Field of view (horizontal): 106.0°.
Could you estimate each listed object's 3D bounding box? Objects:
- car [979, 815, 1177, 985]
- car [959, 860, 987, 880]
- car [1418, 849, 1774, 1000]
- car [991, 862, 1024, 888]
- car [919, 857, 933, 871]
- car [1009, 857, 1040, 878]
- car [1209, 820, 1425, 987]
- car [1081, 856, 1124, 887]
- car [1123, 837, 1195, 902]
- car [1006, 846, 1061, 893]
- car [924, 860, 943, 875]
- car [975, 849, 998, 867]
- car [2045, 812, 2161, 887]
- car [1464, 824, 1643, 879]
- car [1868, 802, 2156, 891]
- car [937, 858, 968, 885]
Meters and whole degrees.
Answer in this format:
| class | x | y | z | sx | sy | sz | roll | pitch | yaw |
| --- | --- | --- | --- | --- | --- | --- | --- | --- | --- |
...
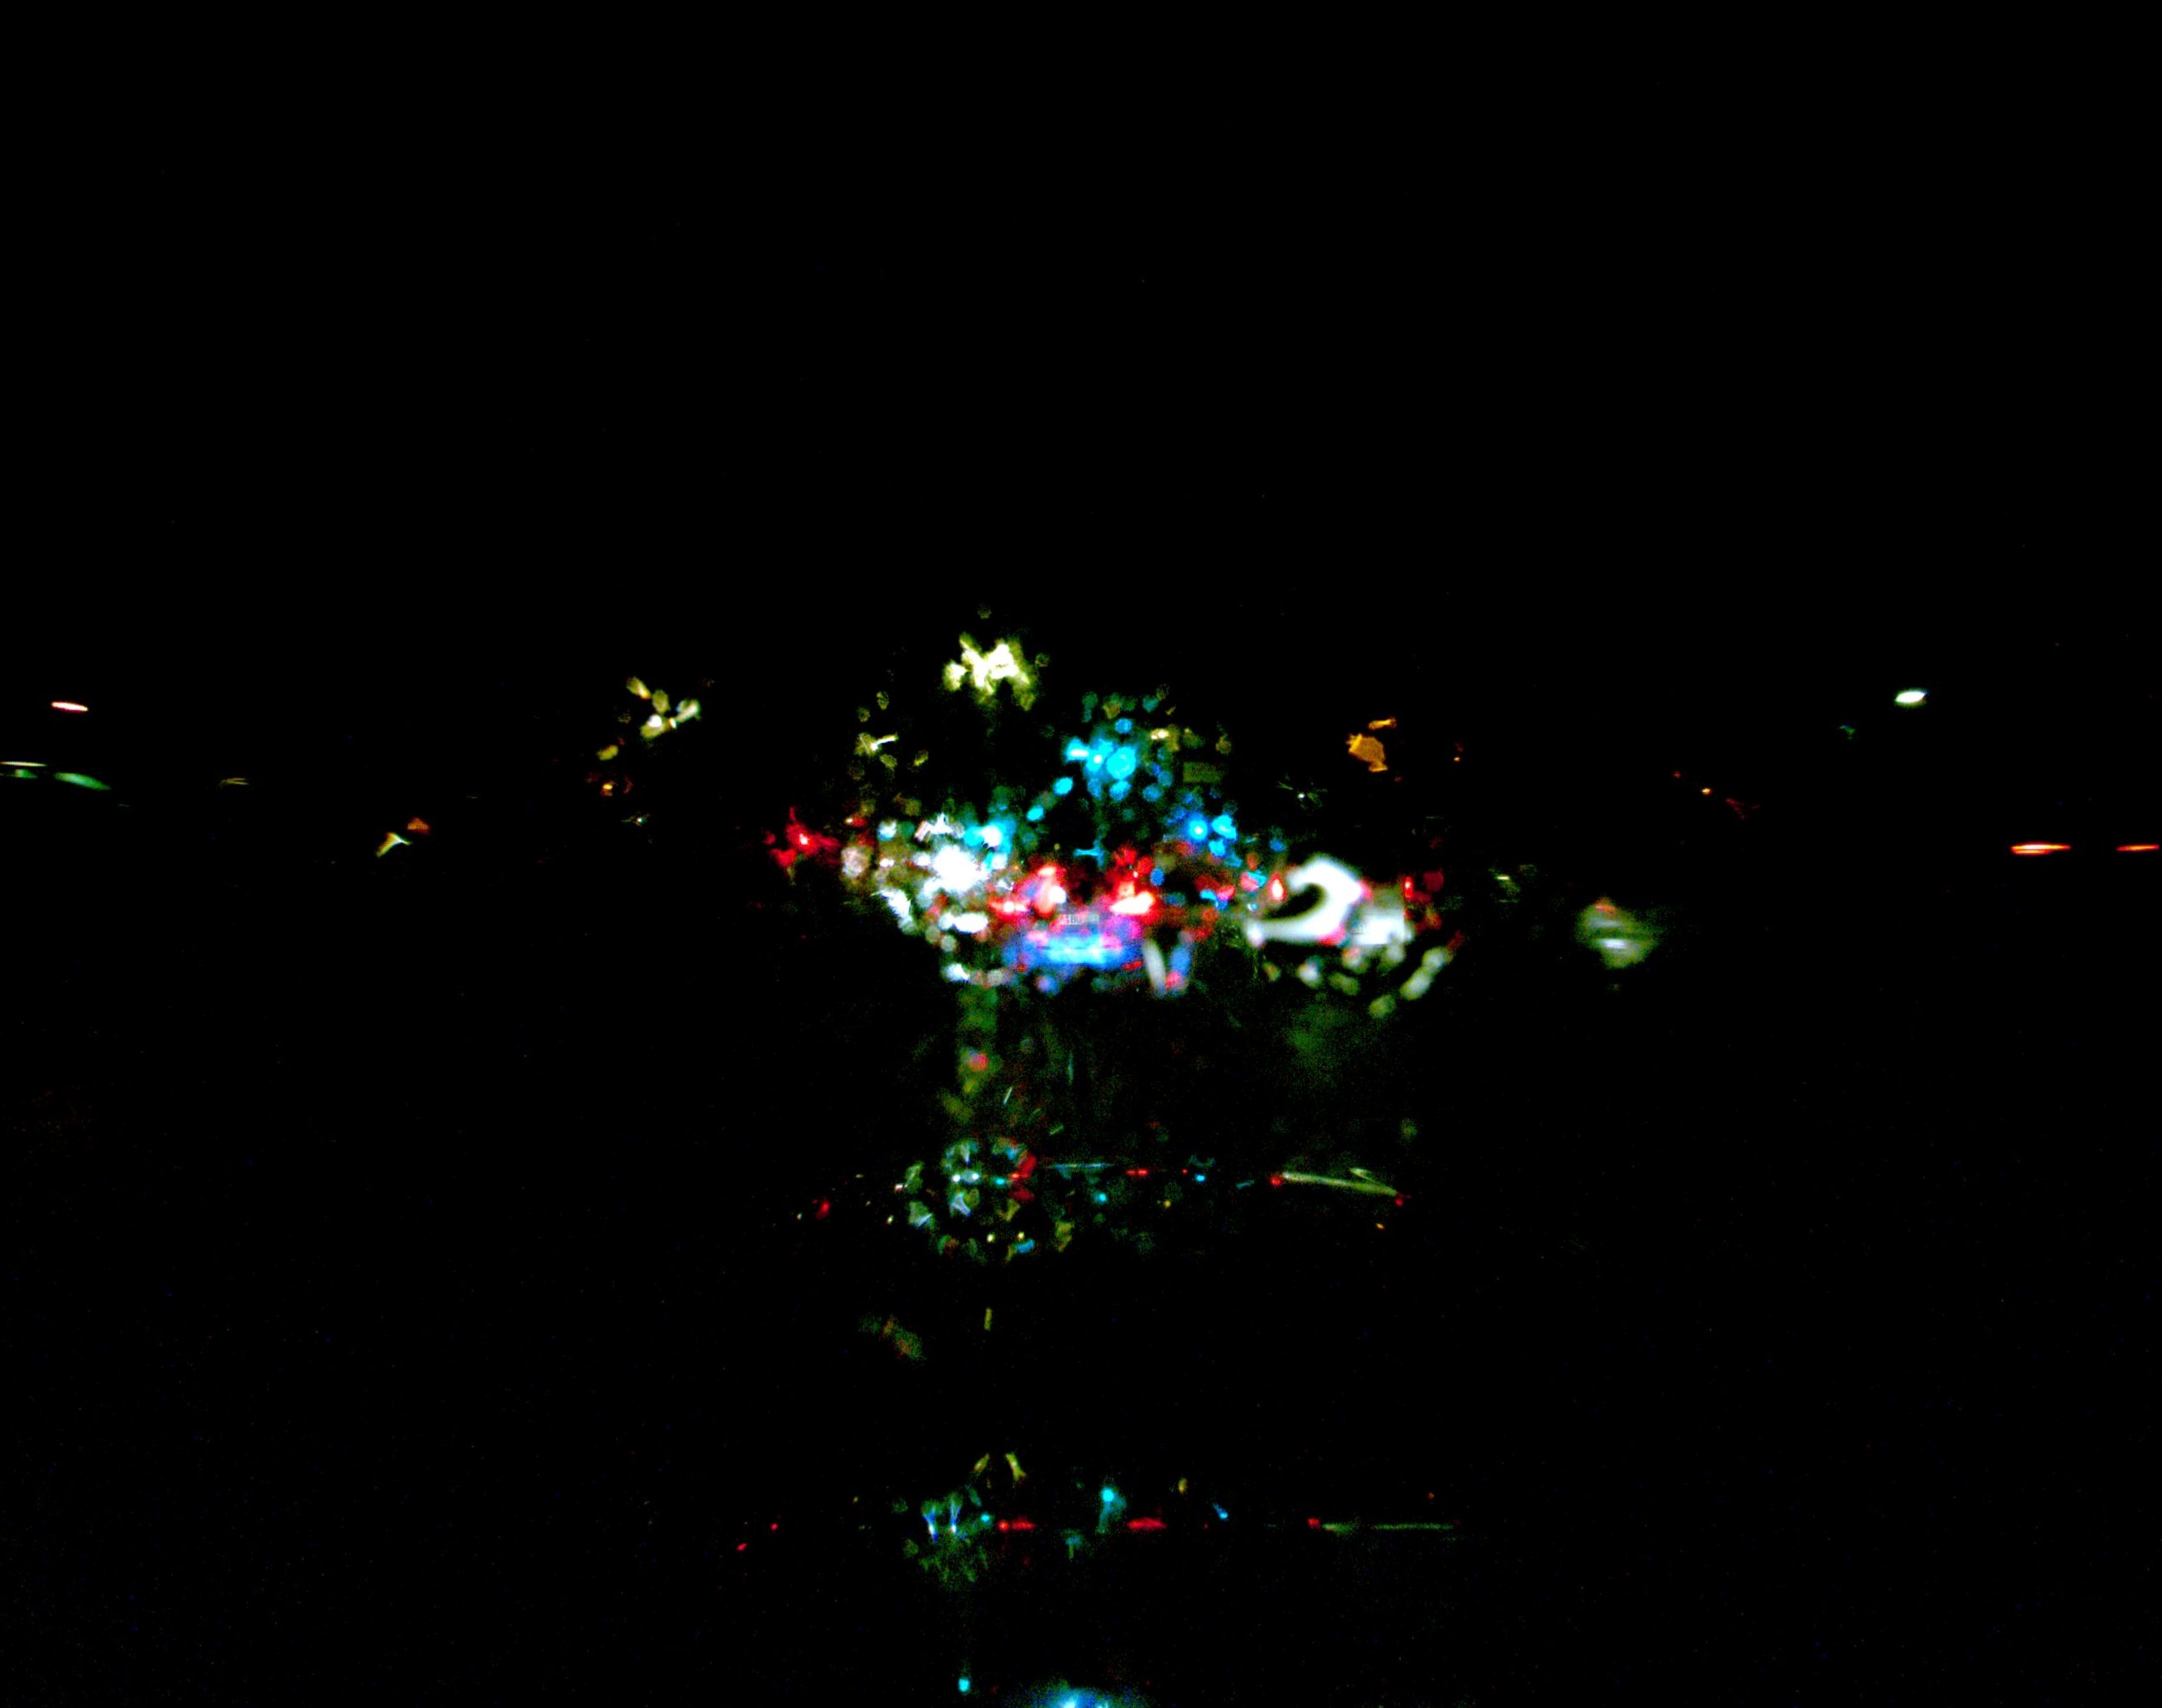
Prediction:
| class | x | y | z | sx | sy | sz | roll | pitch | yaw |
| --- | --- | --- | --- | --- | --- | --- | --- | --- | --- |
| car | -0.115 | 0.482 | 10.513 | 2.010 | 1.717 | 4.447 | 0 | 0 | -3 |
| car | -10.115 | 1.468 | 75.911 | 1.998 | 1.824 | 3.977 | 0 | -1 | -17 |
| car | 5.999 | 0.689 | 10.215 | 1.779 | 1.442 | 4.237 | -2 | 0 | 0 |
| car | -5.221 | 1.467 | 57.216 | 1.994 | 1.732 | 3.986 | 0 | 0 | -10 |
| car | -22.532 | 1.457 | 118.321 | 1.995 | 2.014 | 3.983 | 0 | -1 | -13 |
| car | -4.592 | 1.073 | 65.688 | 1.995 | 1.670 | 3.983 | 0 | 0 | -12 |
| car | 2.972 | 0.567 | 11.258 | 1.845 | 1.865 | 4.342 | 0 | 0 | 2 |
| car | 1.214 | 1.010 | 48.032 | 1.992 | 1.718 | 3.989 | 0 | 0 | -7 |
| car | 2.556 | 0.515 | 27.691 | 1.963 | 2.047 | 3.997 | 0 | -1 | -2 |
| car | -2.227 | 0.689 | 37.242 | 1.994 | 2.014 | 3.984 | 0 | -1 | -11 |
| car | -17.908 | 1.582 | 98.586 | 1.997 | 1.824 | 3.980 | 0 | -1 | -15 |
| car | -10.049 | 0.401 | 86.586 | 1.996 | 1.820 | 3.981 | 0 | -1 | -14 |
| car | 22.161 | -0.091 | 15.856 | 3.950 | 1.430 | 1.855 | 0 | -1 | 26 |
| car | 13.477 | -0.045 | 23.433 | 4.286 | 1.460 | 1.863 | 0 | -1 | 30 |
| car | 18.035 | -0.111 | 16.160 | 1.706 | 1.483 | 4.730 | 0 | -1 | 20 |
| car | -9.934 | 1.331 | 62.590 | 2.017 | 1.887 | 4.431 | 0 | 1 | -14 |
